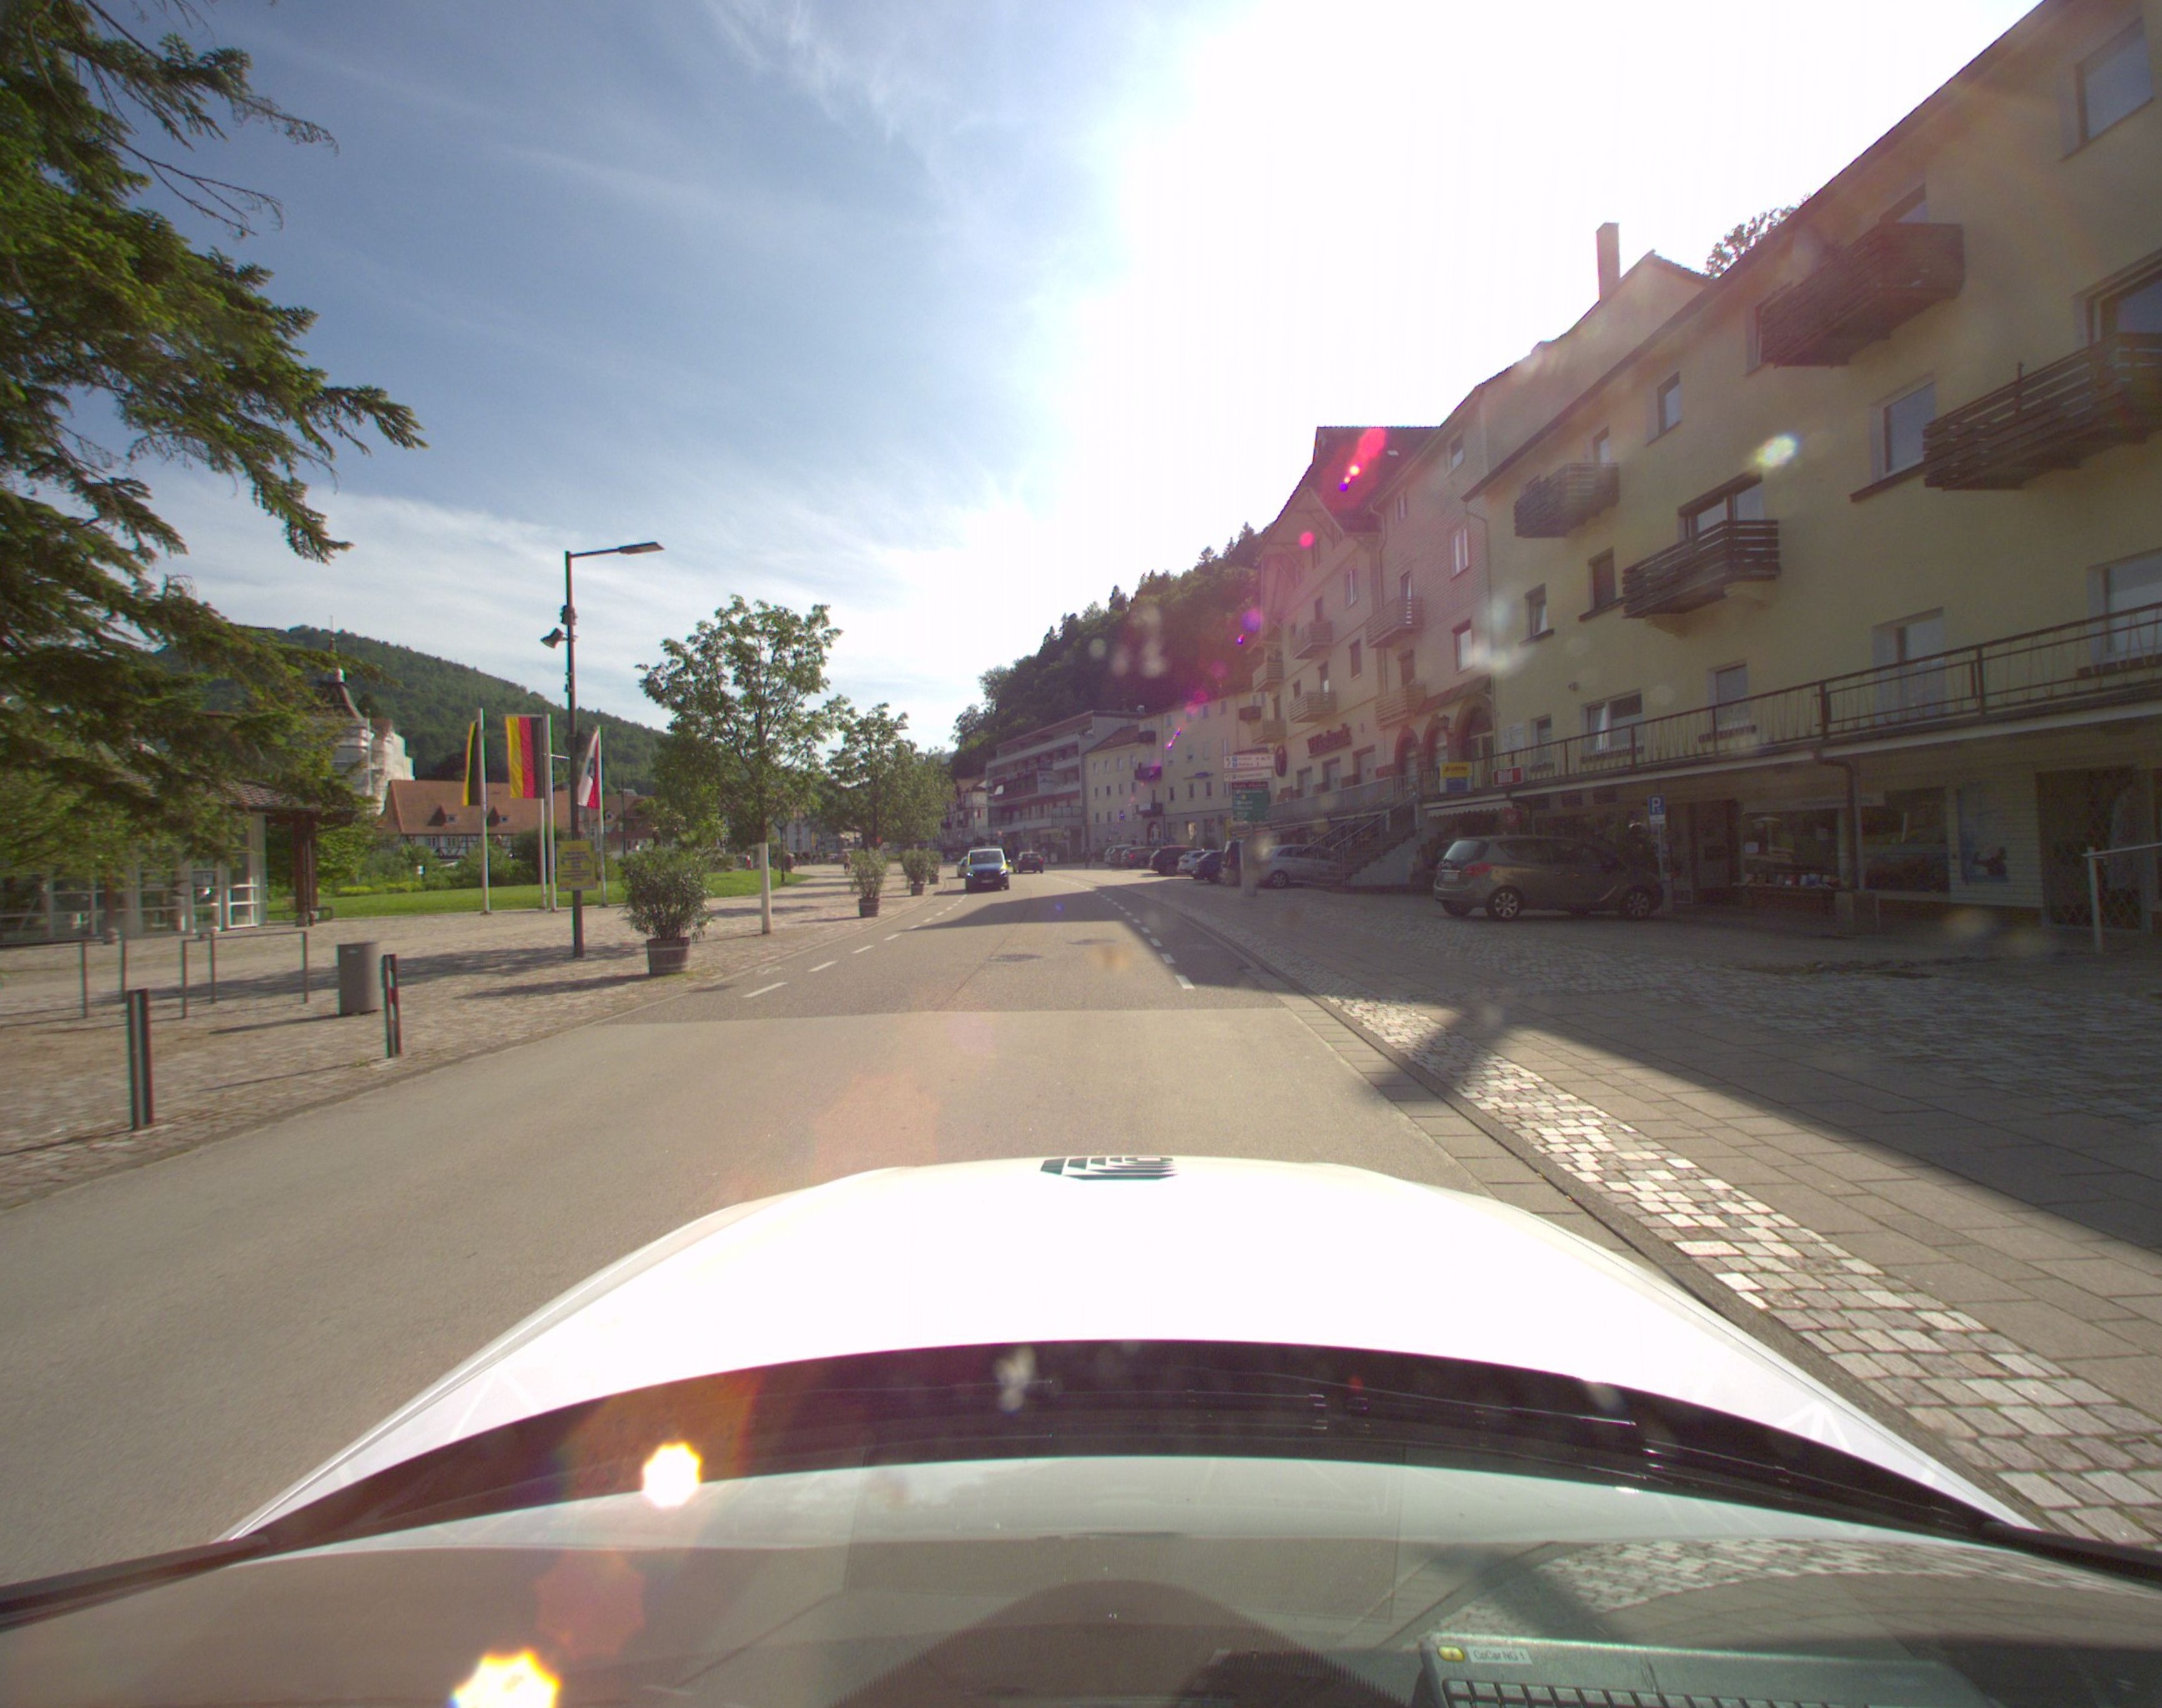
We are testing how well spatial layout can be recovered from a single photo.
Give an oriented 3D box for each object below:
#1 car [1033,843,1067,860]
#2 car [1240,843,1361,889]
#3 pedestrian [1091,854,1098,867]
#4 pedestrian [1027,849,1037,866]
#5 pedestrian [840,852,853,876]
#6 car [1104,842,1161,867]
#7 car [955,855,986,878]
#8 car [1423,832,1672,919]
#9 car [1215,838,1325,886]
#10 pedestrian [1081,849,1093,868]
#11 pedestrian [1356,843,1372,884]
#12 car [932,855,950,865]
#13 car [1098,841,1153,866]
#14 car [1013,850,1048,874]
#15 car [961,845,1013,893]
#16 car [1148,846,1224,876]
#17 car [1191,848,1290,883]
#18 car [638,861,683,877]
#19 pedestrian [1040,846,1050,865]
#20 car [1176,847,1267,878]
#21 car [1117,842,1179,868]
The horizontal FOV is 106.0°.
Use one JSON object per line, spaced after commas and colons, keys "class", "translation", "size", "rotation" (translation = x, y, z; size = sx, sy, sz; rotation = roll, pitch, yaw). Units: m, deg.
{"class": "car", "translation": [-3.218, -0.218, 84.716], "size": [3.176, 1.663, 1.582], "rotation": [-2, 0, -23]}
{"class": "car", "translation": [7.857, 0.416, 29.434], "size": [3.899, 1.589, 1.773], "rotation": [0, 0, -2]}
{"class": "pedestrian", "translation": [1.036, 0.520, 64.120], "size": [0.417, 1.002, 0.529], "rotation": [-4, 0, -9]}
{"class": "pedestrian", "translation": [-4.620, 0.308, 77.186], "size": [0.761, 1.594, 0.623], "rotation": [-2, 0, -24]}
{"class": "pedestrian", "translation": [-17.944, 0.735, 62.311], "size": [0.870, 1.815, 0.686], "rotation": [-2, 0, -23]}
{"class": "car", "translation": [3.921, 0.039, 61.687], "size": [3.877, 1.549, 1.759], "rotation": [-5, 2, -22]}
{"class": "car", "translation": [-7.619, 0.847, 55.952], "size": [1.630, 1.370, 4.044], "rotation": [-4, 0, -14]}
{"class": "car", "translation": [8.828, 0.386, 15.616], "size": [3.852, 1.554, 1.758], "rotation": [0, 0, -5]}
{"class": "car", "translation": [7.416, 0.316, 32.206], "size": [3.899, 1.804, 1.856], "rotation": [1, -1, -2]}
{"class": "pedestrian", "translation": [0.476, 0.350, 64.020], "size": [0.738, 1.442, 0.628], "rotation": [-4, 0, -21]}
{"class": "pedestrian", "translation": [11.622, 0.388, 33.425], "size": [0.409, 1.658, 0.435], "rotation": [-4, 0, 5]}
{"class": "car", "translation": [-21.821, 0.953, 127.121], "size": [1.685, 1.620, 3.965], "rotation": [-1, 0, -26]}
{"class": "car", "translation": [3.521, -0.041, 64.157], "size": [3.877, 1.612, 1.759], "rotation": [-5, 2, -22]}
{"class": "car", "translation": [-3.766, 0.534, 59.651], "size": [1.731, 1.574, 3.732], "rotation": [-2, 1, -17]}
{"class": "car", "translation": [-4.218, 0.641, 37.233], "size": [1.850, 1.953, 5.013], "rotation": [-3, 0, -2]}
{"class": "car", "translation": [5.927, 0.396, 46.308], "size": [4.073, 1.666, 1.771], "rotation": [1, 0, -2]}
{"class": "car", "translation": [6.781, 0.484, 34.866], "size": [3.899, 1.461, 1.735], "rotation": [0, 0, -2]}
{"class": "car", "translation": [-46.804, 1.675, 90.577], "size": [4.202, 1.616, 1.671], "rotation": [-2, 0, -37]}
{"class": "pedestrian", "translation": [-3.409, 0.138, 77.084], "size": [0.672, 1.728, 0.702], "rotation": [-1, 0, -24]}
{"class": "car", "translation": [7.101, 0.441, 41.459], "size": [4.342, 1.461, 1.772], "rotation": [-1, -2, 0]}
{"class": "car", "translation": [4.804, 0.065, 58.259], "size": [4.027, 1.516, 1.759], "rotation": [-5, 2, -22]}
